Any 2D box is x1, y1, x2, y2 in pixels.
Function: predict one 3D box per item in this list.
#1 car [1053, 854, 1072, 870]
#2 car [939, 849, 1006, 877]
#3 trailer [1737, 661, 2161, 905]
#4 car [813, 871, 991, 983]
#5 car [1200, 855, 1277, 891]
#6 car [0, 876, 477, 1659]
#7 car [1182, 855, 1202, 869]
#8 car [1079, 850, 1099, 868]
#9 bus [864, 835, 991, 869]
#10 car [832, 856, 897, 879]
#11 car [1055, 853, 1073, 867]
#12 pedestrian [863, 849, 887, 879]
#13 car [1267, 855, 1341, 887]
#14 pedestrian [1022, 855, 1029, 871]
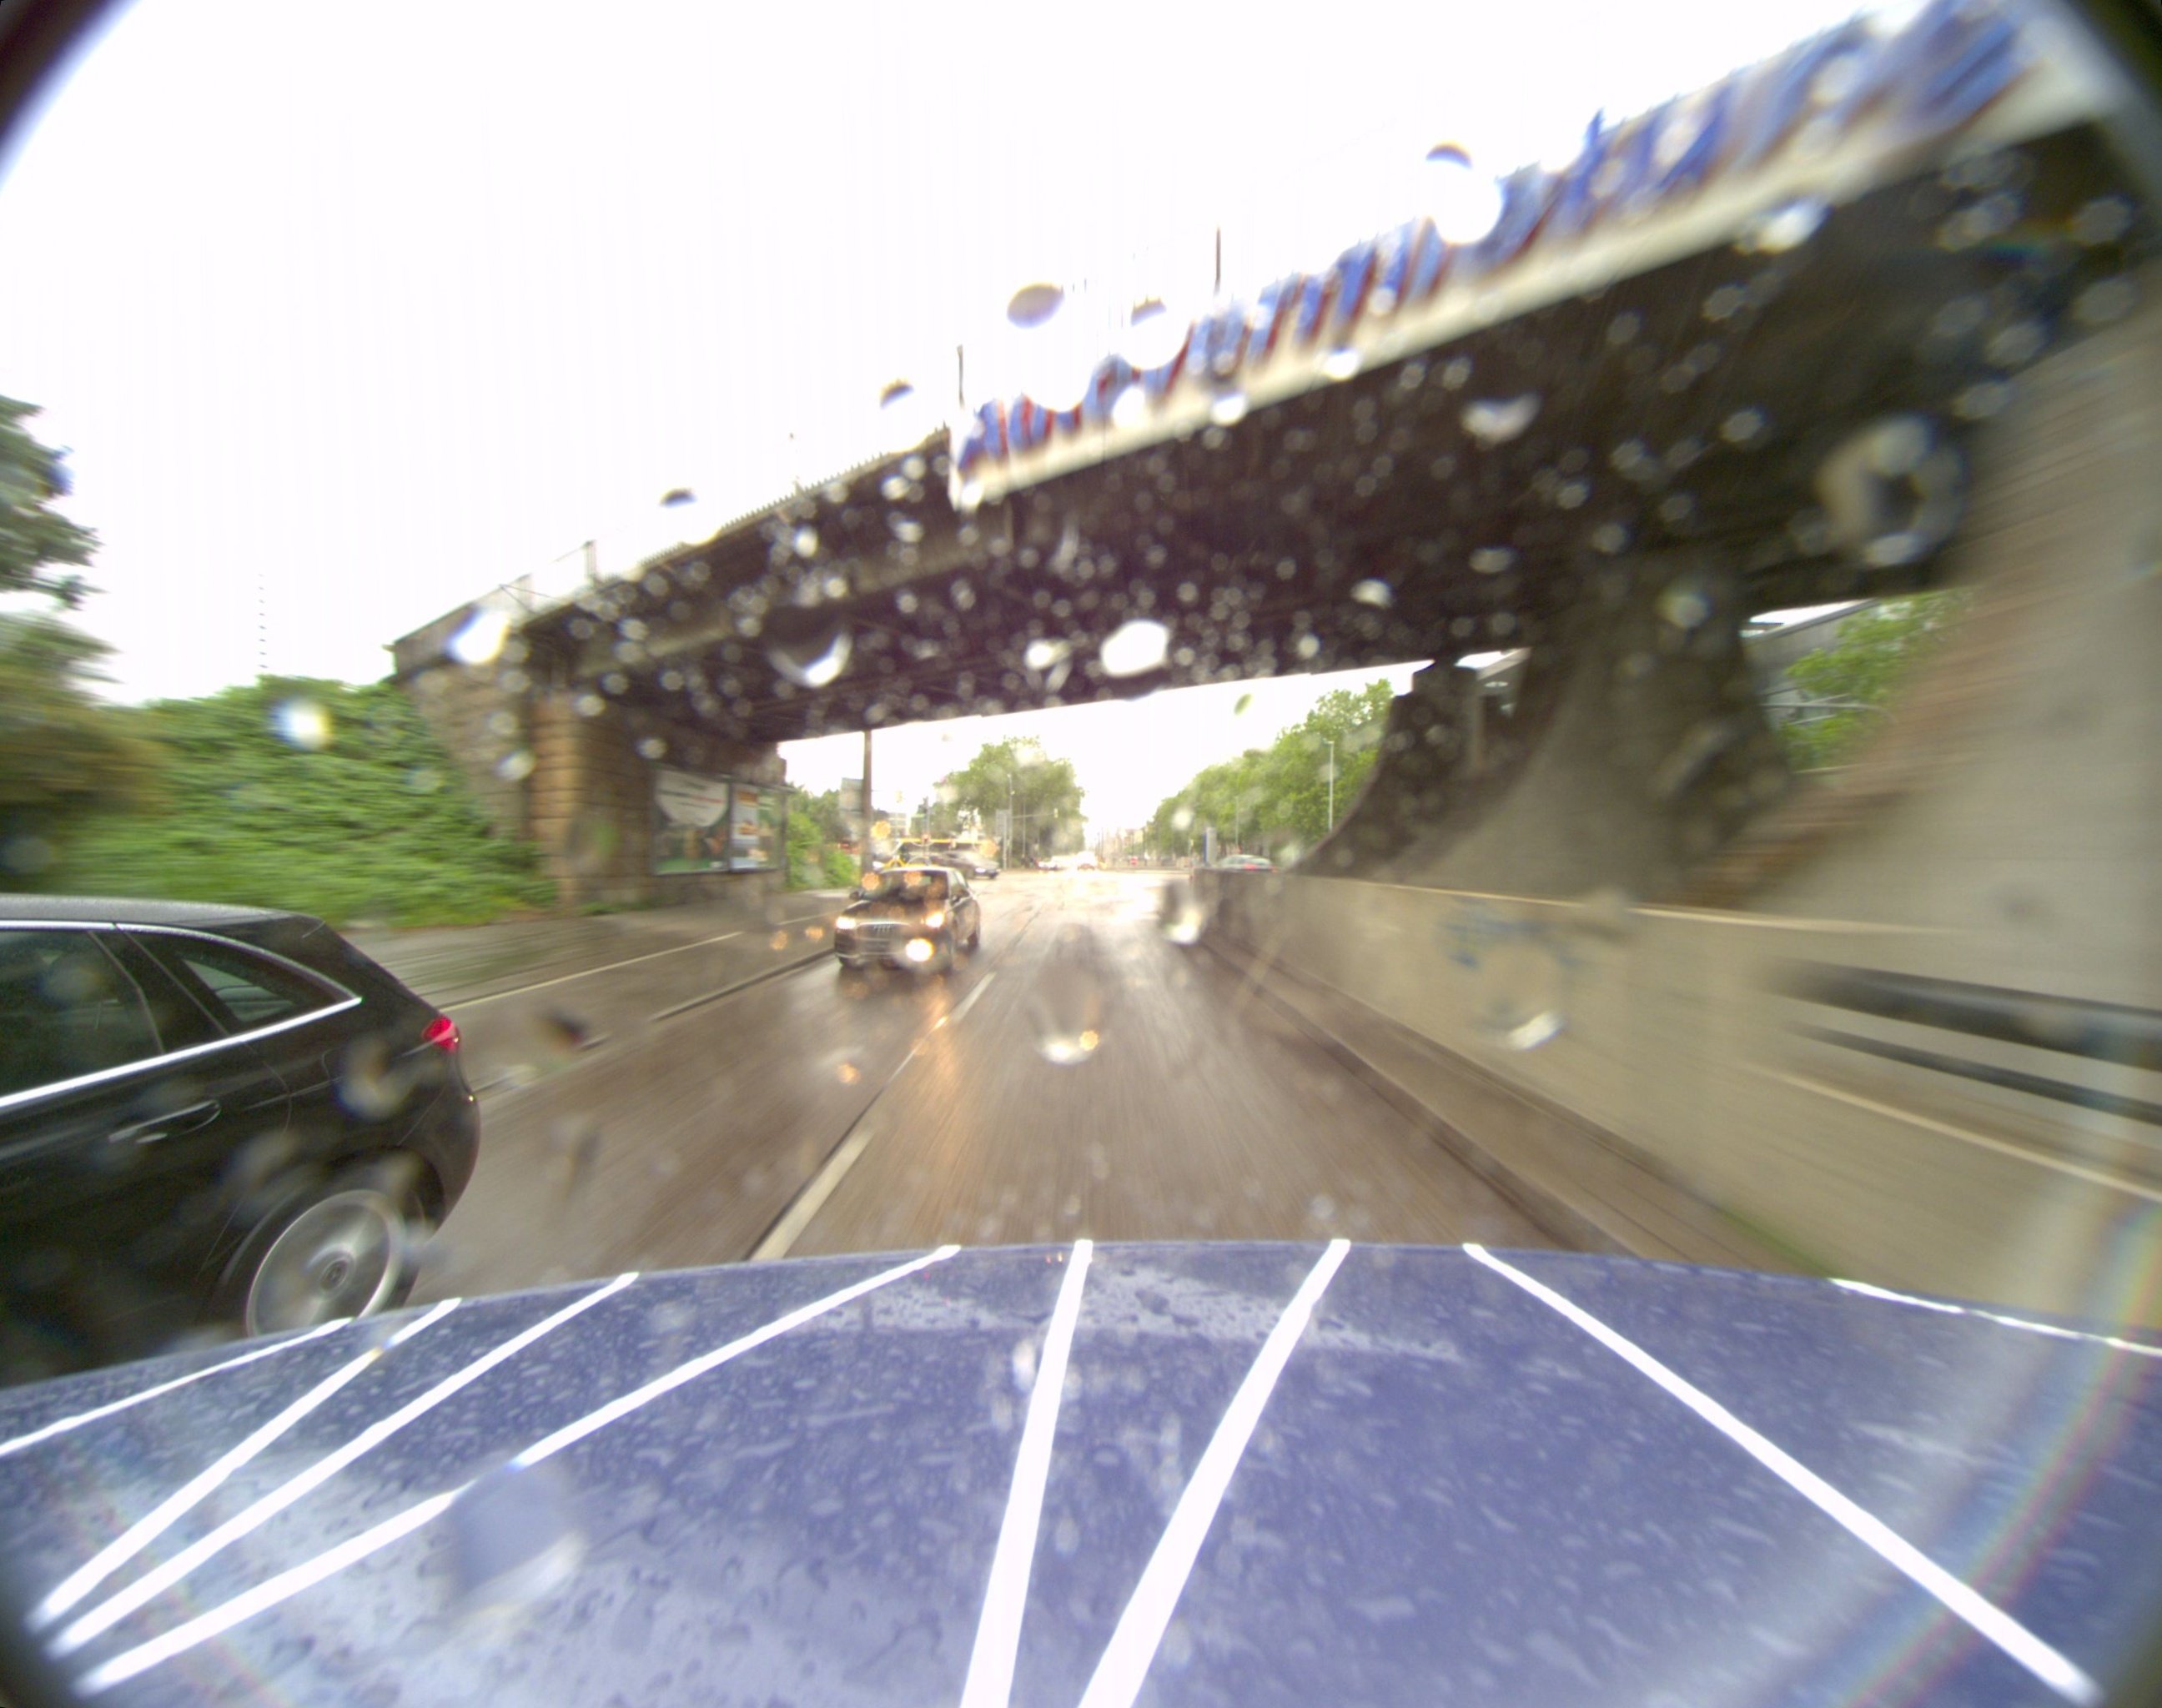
[{"bbox_3d":[-1.967,0.813,80.778,1.932,1.641,4.341,1,0,-1],"label":"car"},{"bbox_3d":[-6.776,0.538,47.262,4.049,1.647,2.033,1,1,43],"label":"car"},{"bbox_3d":[18.893,-1.131,16.004,2.687,3.963,8.520,1,0,0],"label":"trailer"},{"bbox_3d":[-2.653,1.030,12.179,1.840,1.390,3.753,0,1,2],"label":"car"},{"bbox_3d":[7.493,0.874,36.461,1.662,1.537,3.992,1,1,-22],"label":"car"},{"bbox_3d":[-3.137,0.855,0.662,1.875,1.515,4.087,1,0,2],"label":"car"},{"bbox_3d":[14.117,0.984,97.034,1.905,1.622,4.169,1,0,-1],"label":"car"},{"bbox_3d":[0.792,0.505,82.537,2.076,1.838,4.745,1,0,0],"label":"car"},{"bbox_3d":[-15.577,-0.151,77.595,12.308,3.249,3.267,1,1,-27],"label":"bus"},{"bbox_3d":[-14.268,0.866,50.023,3.988,1.341,1.902,2,1,34],"label":"car"},{"bbox_3d":[-2.417,0.783,105.018,2.078,1.838,4.743,1,0,-7],"label":"car"},{"bbox_3d":[-11.909,0.573,43.901,0.817,1.709,1.007,1,0,28],"label":"pedestrian"},{"bbox_3d":[11.408,0.825,39.300,1.746,1.477,4.680,1,0,-10],"label":"car"},{"bbox_3d":[-5.931,0.953,81.668,0.644,1.641,0.627,1,0,9],"label":"pedestrian"}]
